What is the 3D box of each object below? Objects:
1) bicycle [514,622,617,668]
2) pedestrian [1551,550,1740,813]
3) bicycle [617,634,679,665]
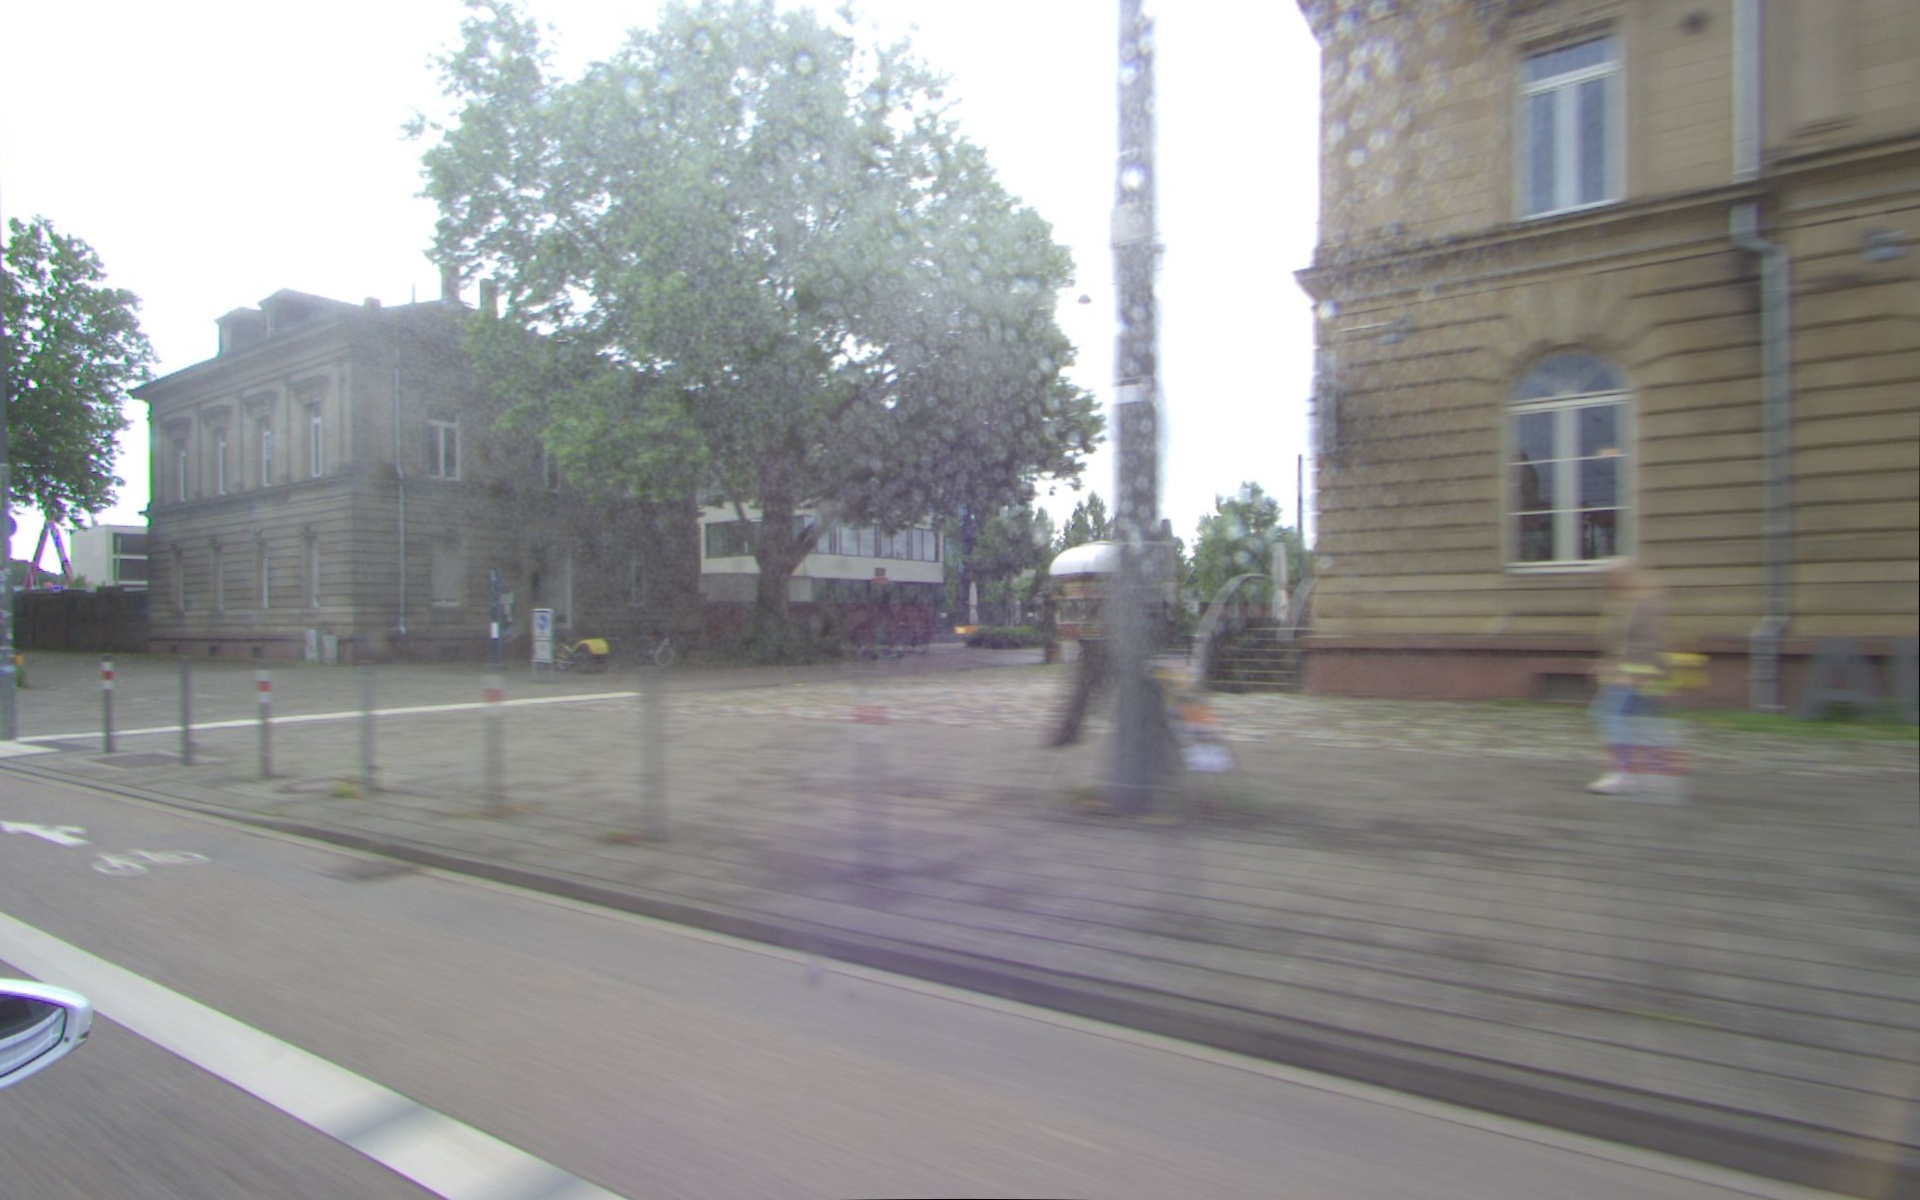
[{"bbox_3d":[-11.087,1.240,28.067,3.356,1.082,0.898,2,1,33],"label":"bicycle"},{"bbox_3d":[4.836,0.541,7.079,0.989,1.700,0.714,-1,0,44],"label":"pedestrian"},{"bbox_3d":[-9.405,1.478,30.171,2.052,0.883,0.608,-1,0,33],"label":"bicycle"}]
